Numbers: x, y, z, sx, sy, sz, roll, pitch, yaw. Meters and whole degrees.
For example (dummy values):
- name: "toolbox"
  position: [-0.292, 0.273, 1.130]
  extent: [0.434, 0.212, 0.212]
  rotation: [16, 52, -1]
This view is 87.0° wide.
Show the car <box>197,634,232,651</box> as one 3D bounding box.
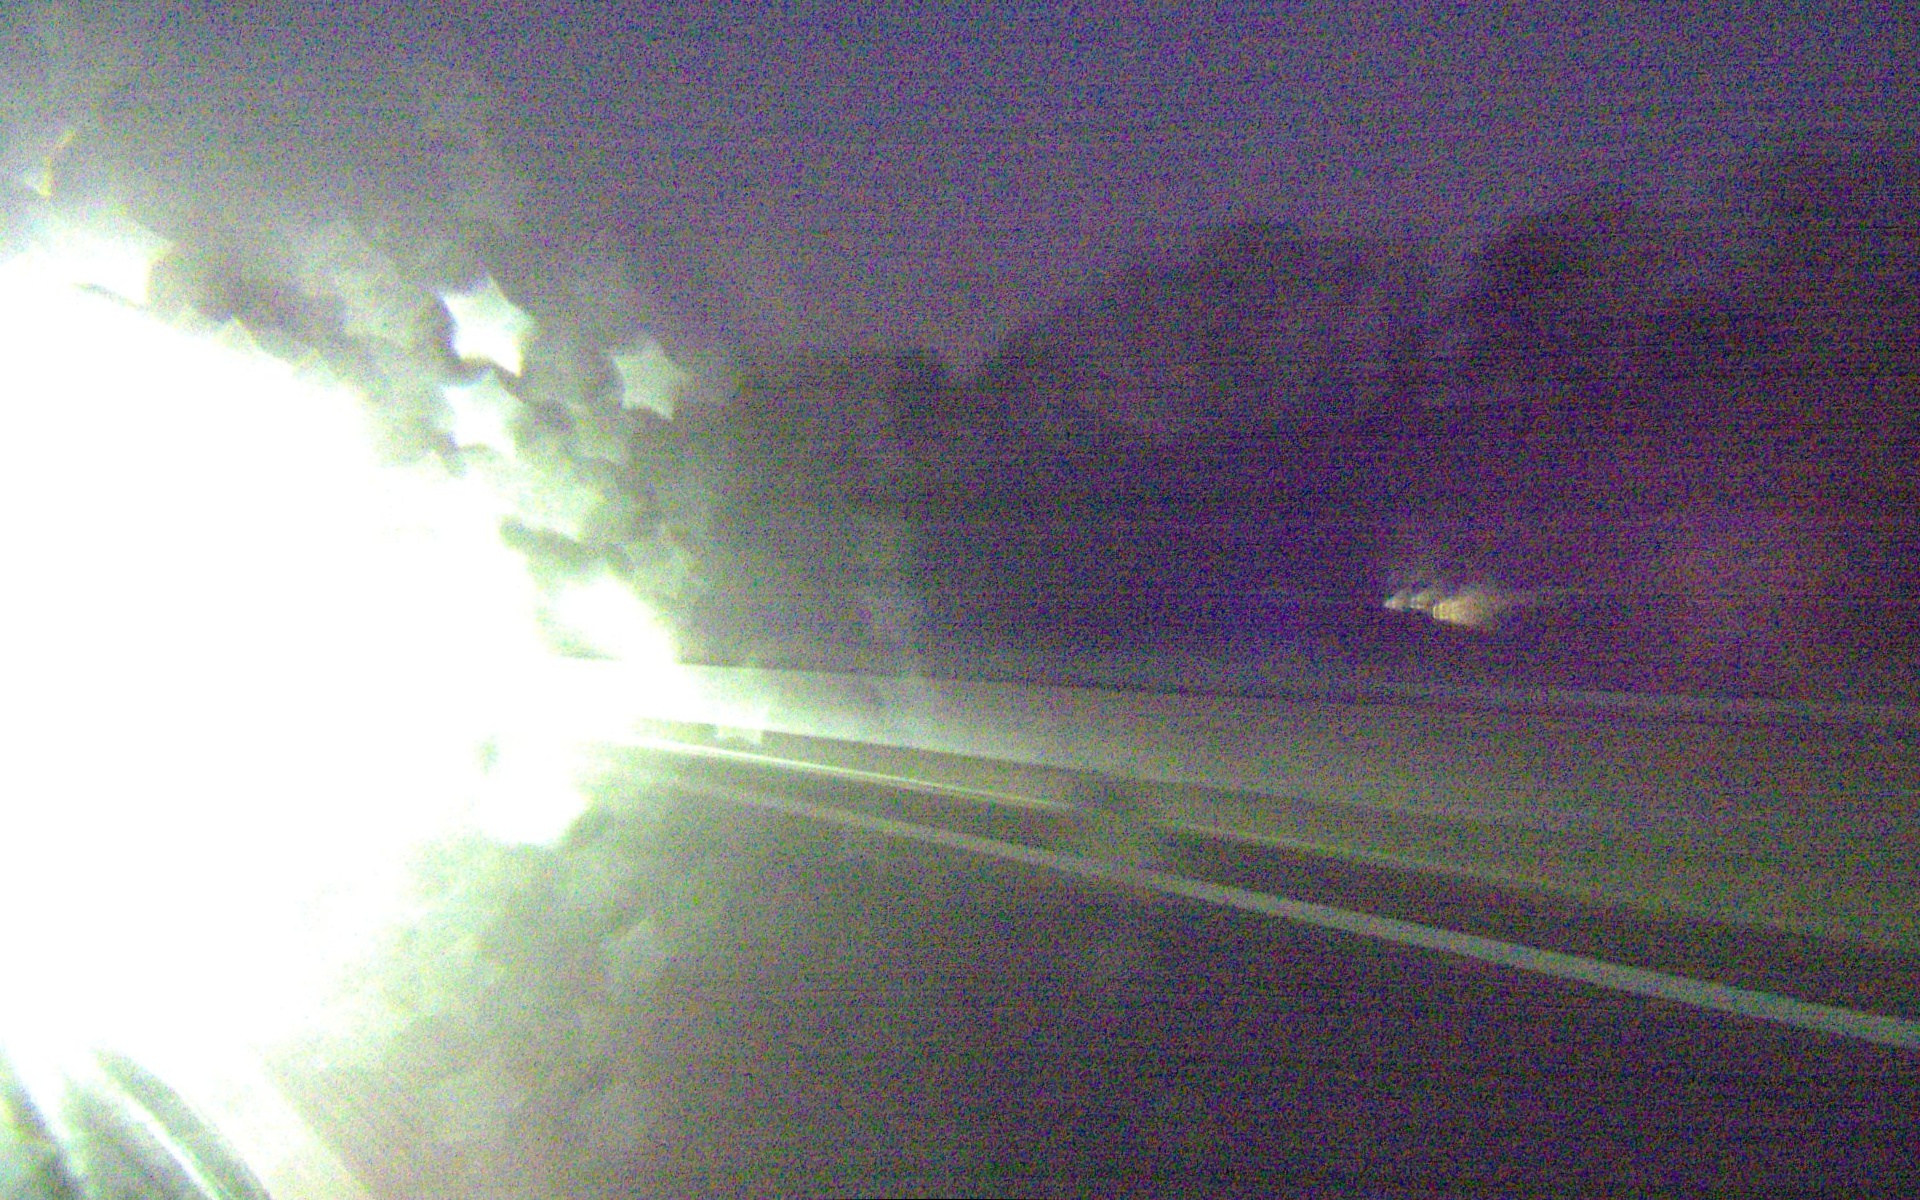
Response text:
- name: "car"
  position: [-71.966, 4.051, 97.703]
  extent: [3.999, 1.497, 1.973]
  rotation: [-2, 0, 42]

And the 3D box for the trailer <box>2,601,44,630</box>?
- name: "trailer"
  position: [-163.316, 2.703, 176.320]
  extent: [13.957, 4.659, 4.122]
  rotation: [-1, -3, 43]

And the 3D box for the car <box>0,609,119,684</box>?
- name: "car"
  position: [-21.630, 1.067, 23.993]
  extent: [2.277, 1.621, 3.874]
  rotation: [4, -3, -44]
